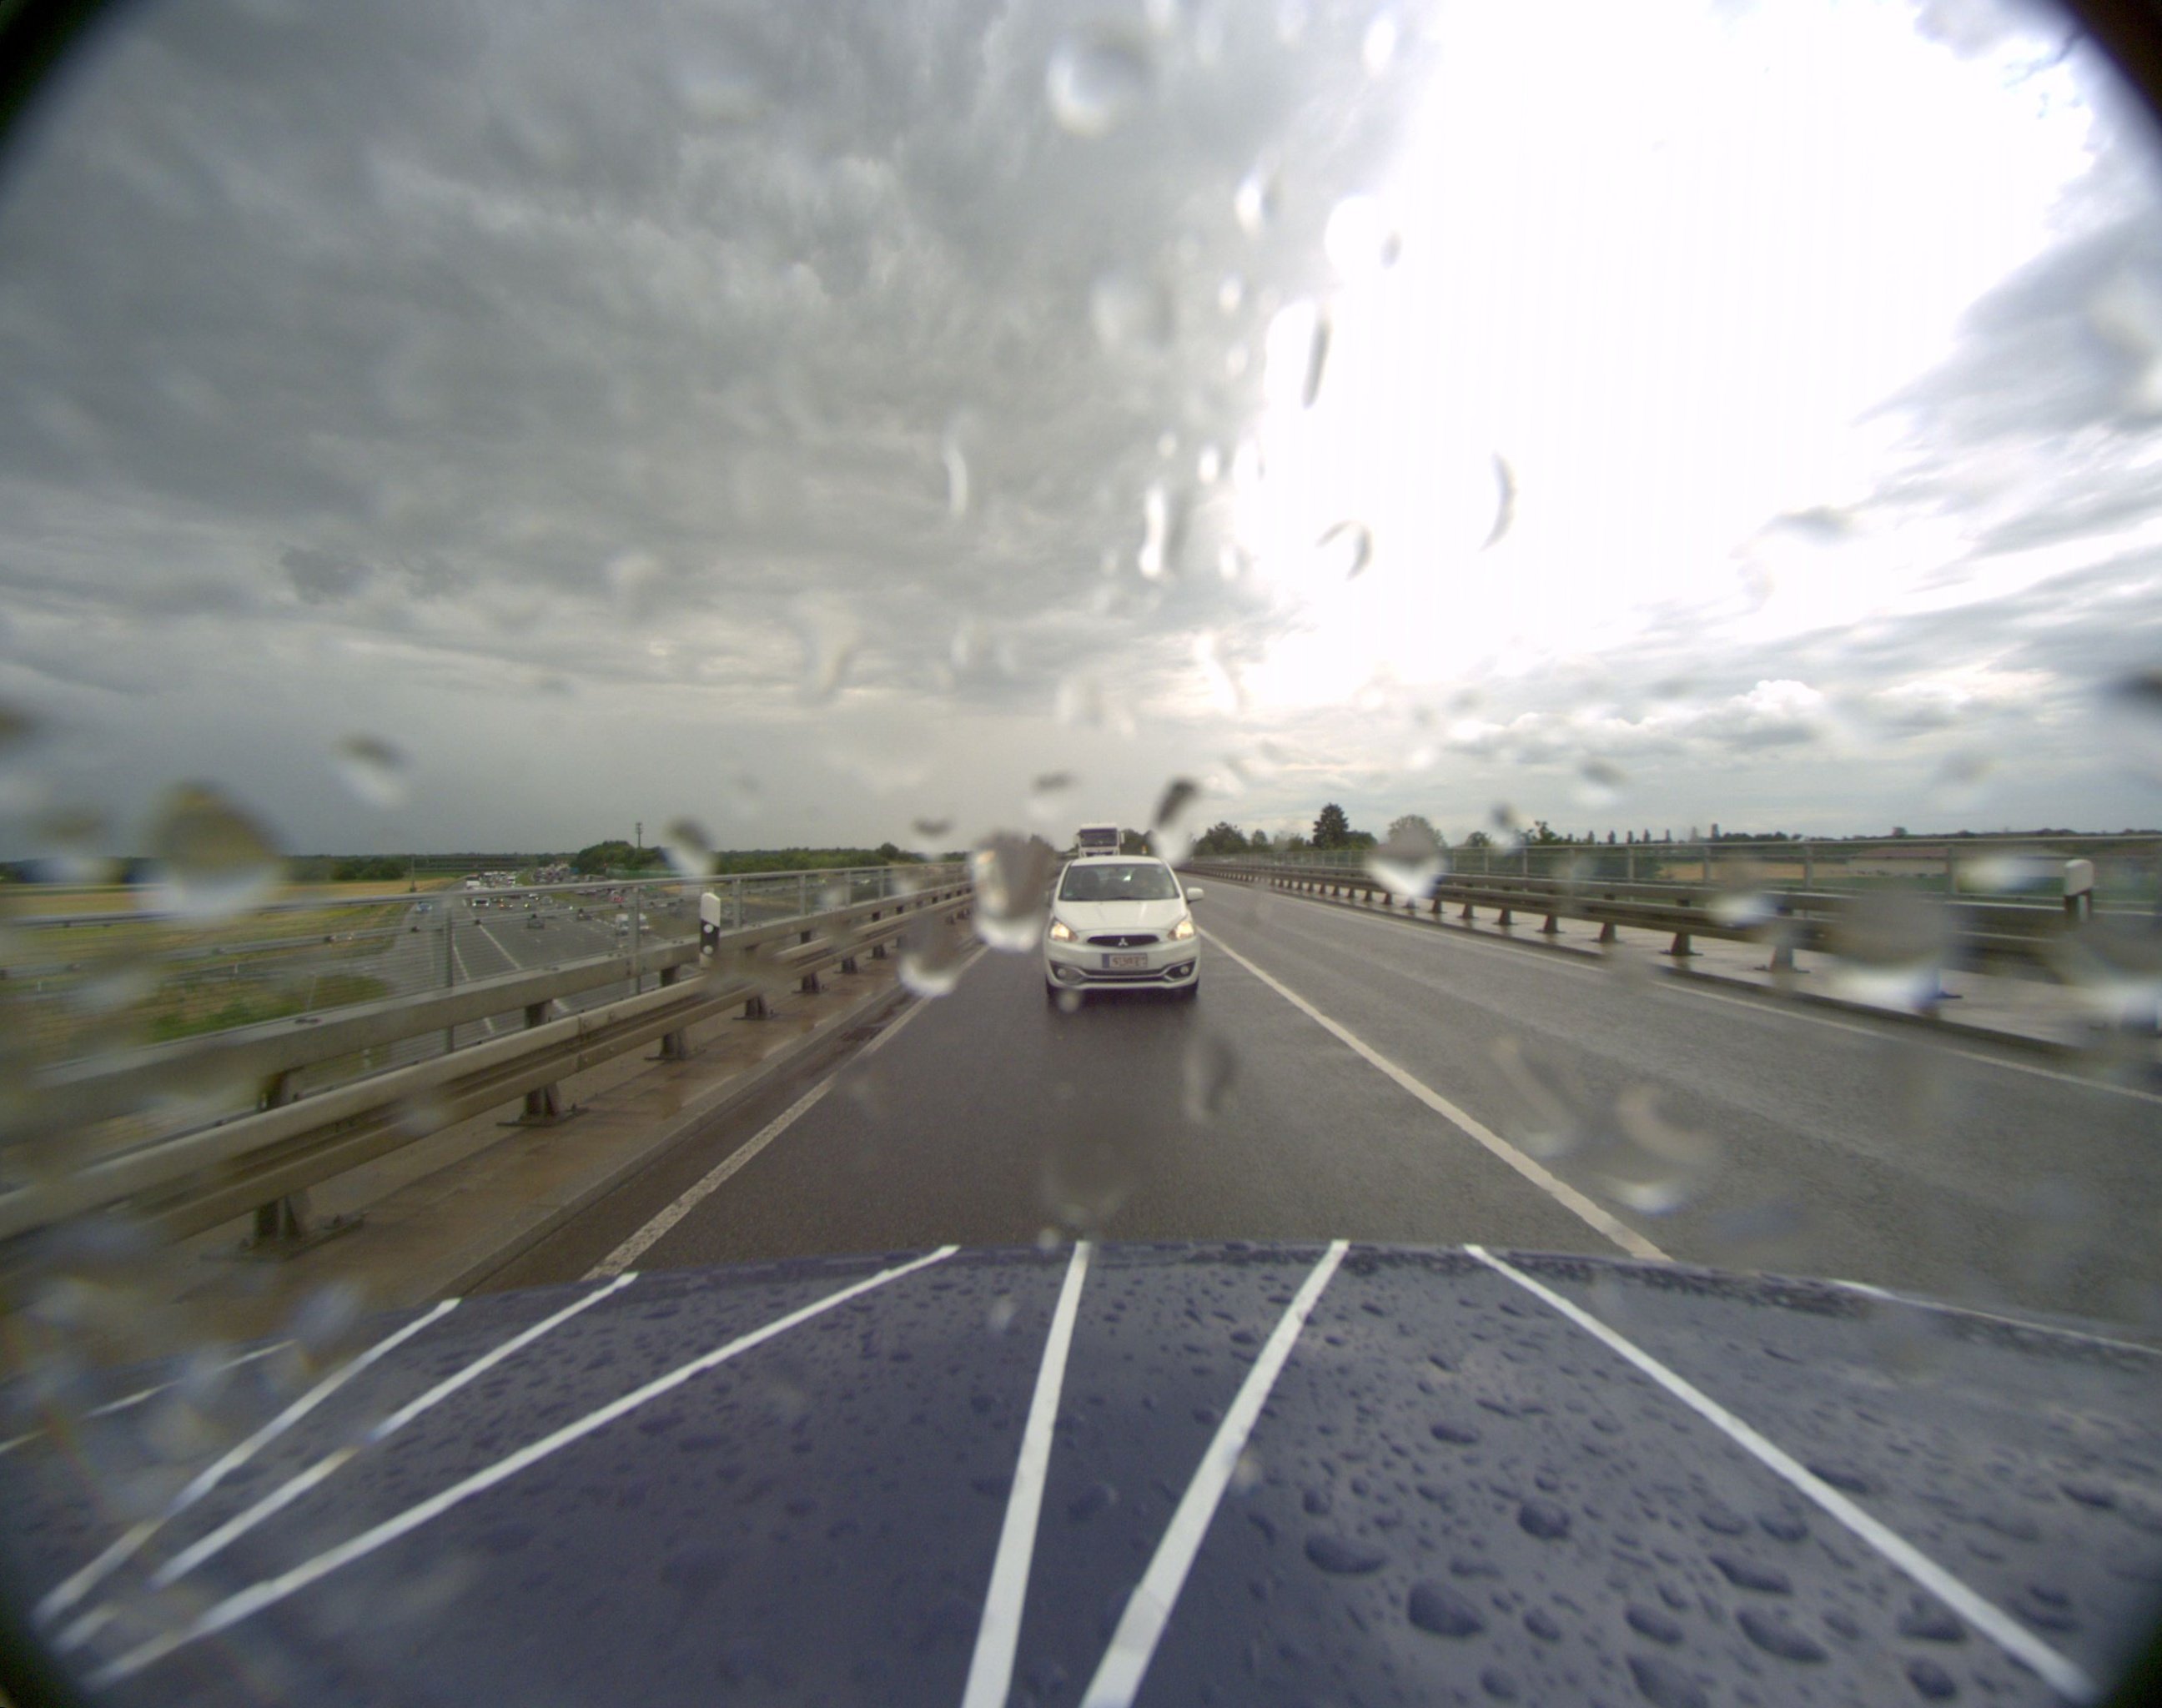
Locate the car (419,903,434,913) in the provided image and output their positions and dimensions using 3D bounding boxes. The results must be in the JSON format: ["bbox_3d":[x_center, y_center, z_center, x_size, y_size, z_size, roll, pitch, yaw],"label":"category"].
[{"bbox_3d":[-113.380,9.351,131.604,1.818,1.427,4.712,-3,1,-41],"label":"car"}]

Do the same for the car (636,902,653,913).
[{"bbox_3d":[-78.071,9.617,135.930,1.860,1.659,4.712,-3,1,-40],"label":"car"}]

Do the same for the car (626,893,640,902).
[{"bbox_3d":[-96.042,9.281,162.838,1.860,1.659,4.712,-3,1,-40],"label":"car"}]

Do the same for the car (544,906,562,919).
[{"bbox_3d":[-85.236,9.448,122.593,1.860,1.659,4.712,-3,1,-40],"label":"car"}]

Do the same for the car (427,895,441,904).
[{"bbox_3d":[-127.264,8.920,149.506,1.860,1.659,4.712,-3,1,-40],"label":"car"}]

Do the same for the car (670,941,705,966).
[{"bbox_3d":[-36.231,9.117,69.963,1.818,1.659,4.712,-3,1,-40],"label":"car"}]

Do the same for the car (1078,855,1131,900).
[{"bbox_3d":[0.812,0.781,27.109,1.675,1.366,4.129,-2,0,1],"label":"car"}]

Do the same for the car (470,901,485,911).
[{"bbox_3d":[-105.290,9.032,132.551,1.818,1.427,4.712,-3,1,-41],"label":"car"}]

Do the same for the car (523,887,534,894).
[{"bbox_3d":[-144.517,9.516,198.787,1.860,1.659,4.712,-3,1,-40],"label":"car"}]

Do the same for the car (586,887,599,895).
[{"bbox_3d":[-118.132,8.915,183.702,1.860,1.659,4.712,-3,1,-40],"label":"car"}]

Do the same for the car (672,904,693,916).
[{"bbox_3d":[-61.369,8.608,116.916,1.860,1.659,4.712,-3,1,-40],"label":"car"}]

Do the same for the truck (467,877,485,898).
[{"bbox_3d":[-144.177,7.901,181.171,2.799,4.591,12.724,-3,1,-36],"label":"truck"}]

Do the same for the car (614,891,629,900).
[{"bbox_3d":[-93.660,8.383,154.920,1.860,1.659,4.712,-3,1,-40],"label":"car"}]

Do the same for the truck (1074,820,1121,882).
[{"bbox_3d":[0.976,-0.366,48.615,2.630,3.537,8.474,-2,3,0],"label":"truck"}]

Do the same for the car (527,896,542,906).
[{"bbox_3d":[-103.737,8.843,144.266,1.860,1.659,4.712,-3,1,-40],"label":"car"}]

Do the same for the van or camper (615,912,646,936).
[{"bbox_3d":[-55.764,8.573,93.971,2.063,2.436,7.311,-3,1,-40],"label":"van or camper"}]

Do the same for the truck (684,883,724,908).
[{"bbox_3d":[-75.279,8.177,151.373,3.610,4.511,15.589,-3,1,-39],"label":"truck"}]

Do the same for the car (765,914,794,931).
[{"bbox_3d":[-37.297,8.440,93.960,1.860,1.659,4.712,-3,1,-40],"label":"car"}]

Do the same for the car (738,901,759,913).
[{"bbox_3d":[-52.748,8.389,120.530,1.860,1.659,4.712,-3,1,-40],"label":"car"}]

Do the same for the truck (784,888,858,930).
[{"bbox_3d":[-33.155,6.776,96.205,3.610,4.511,15.589,-3,1,-39],"label":"truck"}]

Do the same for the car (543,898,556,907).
[{"bbox_3d":[-110.877,10.162,158.430,1.860,1.659,4.712,-3,1,-40],"label":"car"}]

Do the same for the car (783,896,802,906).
[{"bbox_3d":[-54.566,8.826,143.568,1.860,1.659,4.712,-3,1,-40],"label":"car"}]

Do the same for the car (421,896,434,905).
[{"bbox_3d":[-137.778,9.836,160.234,1.860,1.659,4.712,-3,1,-40],"label":"car"}]

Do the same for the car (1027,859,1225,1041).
[{"bbox_3d":[0.432,0.862,8.731,1.675,1.476,4.129,-2,0,1],"label":"car"}]

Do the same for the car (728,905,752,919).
[{"bbox_3d":[-49.121,8.313,109.289,1.860,1.659,4.712,-3,1,-40],"label":"car"}]

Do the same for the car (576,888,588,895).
[{"bbox_3d":[-126.128,9.466,192.054,1.860,1.764,4.712,-3,1,-40],"label":"car"}]

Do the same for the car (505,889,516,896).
[{"bbox_3d":[-143.936,9.659,191.663,1.860,1.659,4.712,-3,1,-40],"label":"car"}]

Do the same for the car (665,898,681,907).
[{"bbox_3d":[-82.351,9.813,153.247,1.860,1.659,4.712,-3,1,-40],"label":"car"}]

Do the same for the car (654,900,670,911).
[{"bbox_3d":[-79.591,9.747,144.276,1.860,1.659,4.712,-3,1,-40],"label":"car"}]

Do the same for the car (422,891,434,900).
[{"bbox_3d":[-146.988,9.369,171.114,1.860,1.659,4.712,-3,1,-40],"label":"car"}]

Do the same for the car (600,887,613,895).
[{"bbox_3d":[-105.819,8.275,169.406,1.860,1.659,4.712,-3,1,-40],"label":"car"}]

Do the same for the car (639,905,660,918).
[{"bbox_3d":[-65.525,8.770,115.346,1.860,1.659,4.712,-3,1,-40],"label":"car"}]

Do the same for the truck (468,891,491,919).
[{"bbox_3d":[-116.704,9.802,147.634,2.799,4.871,12.724,-3,1,-36],"label":"truck"}]

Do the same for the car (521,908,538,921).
[{"bbox_3d":[-87.252,9.551,120.223,1.860,1.659,4.712,-3,1,-40],"label":"car"}]

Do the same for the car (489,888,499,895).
[{"bbox_3d":[-154.750,9.935,200.298,1.860,1.659,4.712,-3,1,-40],"label":"car"}]

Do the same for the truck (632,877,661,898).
[{"bbox_3d":[-109.986,8.382,192.221,3.302,5.135,15.588,-3,1,-40],"label":"truck"}]

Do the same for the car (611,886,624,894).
[{"bbox_3d":[-109.680,8.522,179.836,1.860,1.764,4.712,-3,1,-40],"label":"car"}]

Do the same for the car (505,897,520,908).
[{"bbox_3d":[-104.690,8.924,139.918,1.860,1.659,4.712,-3,1,-40],"label":"car"}]

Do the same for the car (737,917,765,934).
[{"bbox_3d":[-39.690,8.597,91.351,1.860,1.659,4.712,-3,1,-40],"label":"car"}]

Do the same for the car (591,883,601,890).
[{"bbox_3d":[-134.511,9.018,210.696,1.860,1.764,4.712,-3,1,-40],"label":"car"}]

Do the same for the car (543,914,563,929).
[{"bbox_3d":[-72.225,9.171,103.924,1.860,1.659,4.712,-3,1,-40],"label":"car"}]

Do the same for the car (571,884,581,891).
[{"bbox_3d":[-140.643,9.277,211.647,1.860,1.764,4.712,-3,1,-40],"label":"car"}]

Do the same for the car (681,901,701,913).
[{"bbox_3d":[-63.361,8.663,123.442,1.860,1.659,4.712,-3,1,-40],"label":"car"}]

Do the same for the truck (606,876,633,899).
[{"bbox_3d":[-121.169,8.699,199.414,3.302,5.411,15.588,-3,1,-40],"label":"truck"}]

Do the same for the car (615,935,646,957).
[{"bbox_3d":[-44.561,9.077,75.062,1.818,1.659,4.712,-3,1,-40],"label":"car"}]

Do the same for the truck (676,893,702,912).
[{"bbox_3d":[-72.327,8.860,139.948,2.216,2.948,9.284,-3,1,-40],"label":"truck"}]

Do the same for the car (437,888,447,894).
[{"bbox_3d":[-157.766,9.092,187.605,1.818,1.427,4.712,-3,1,-41],"label":"car"}]
